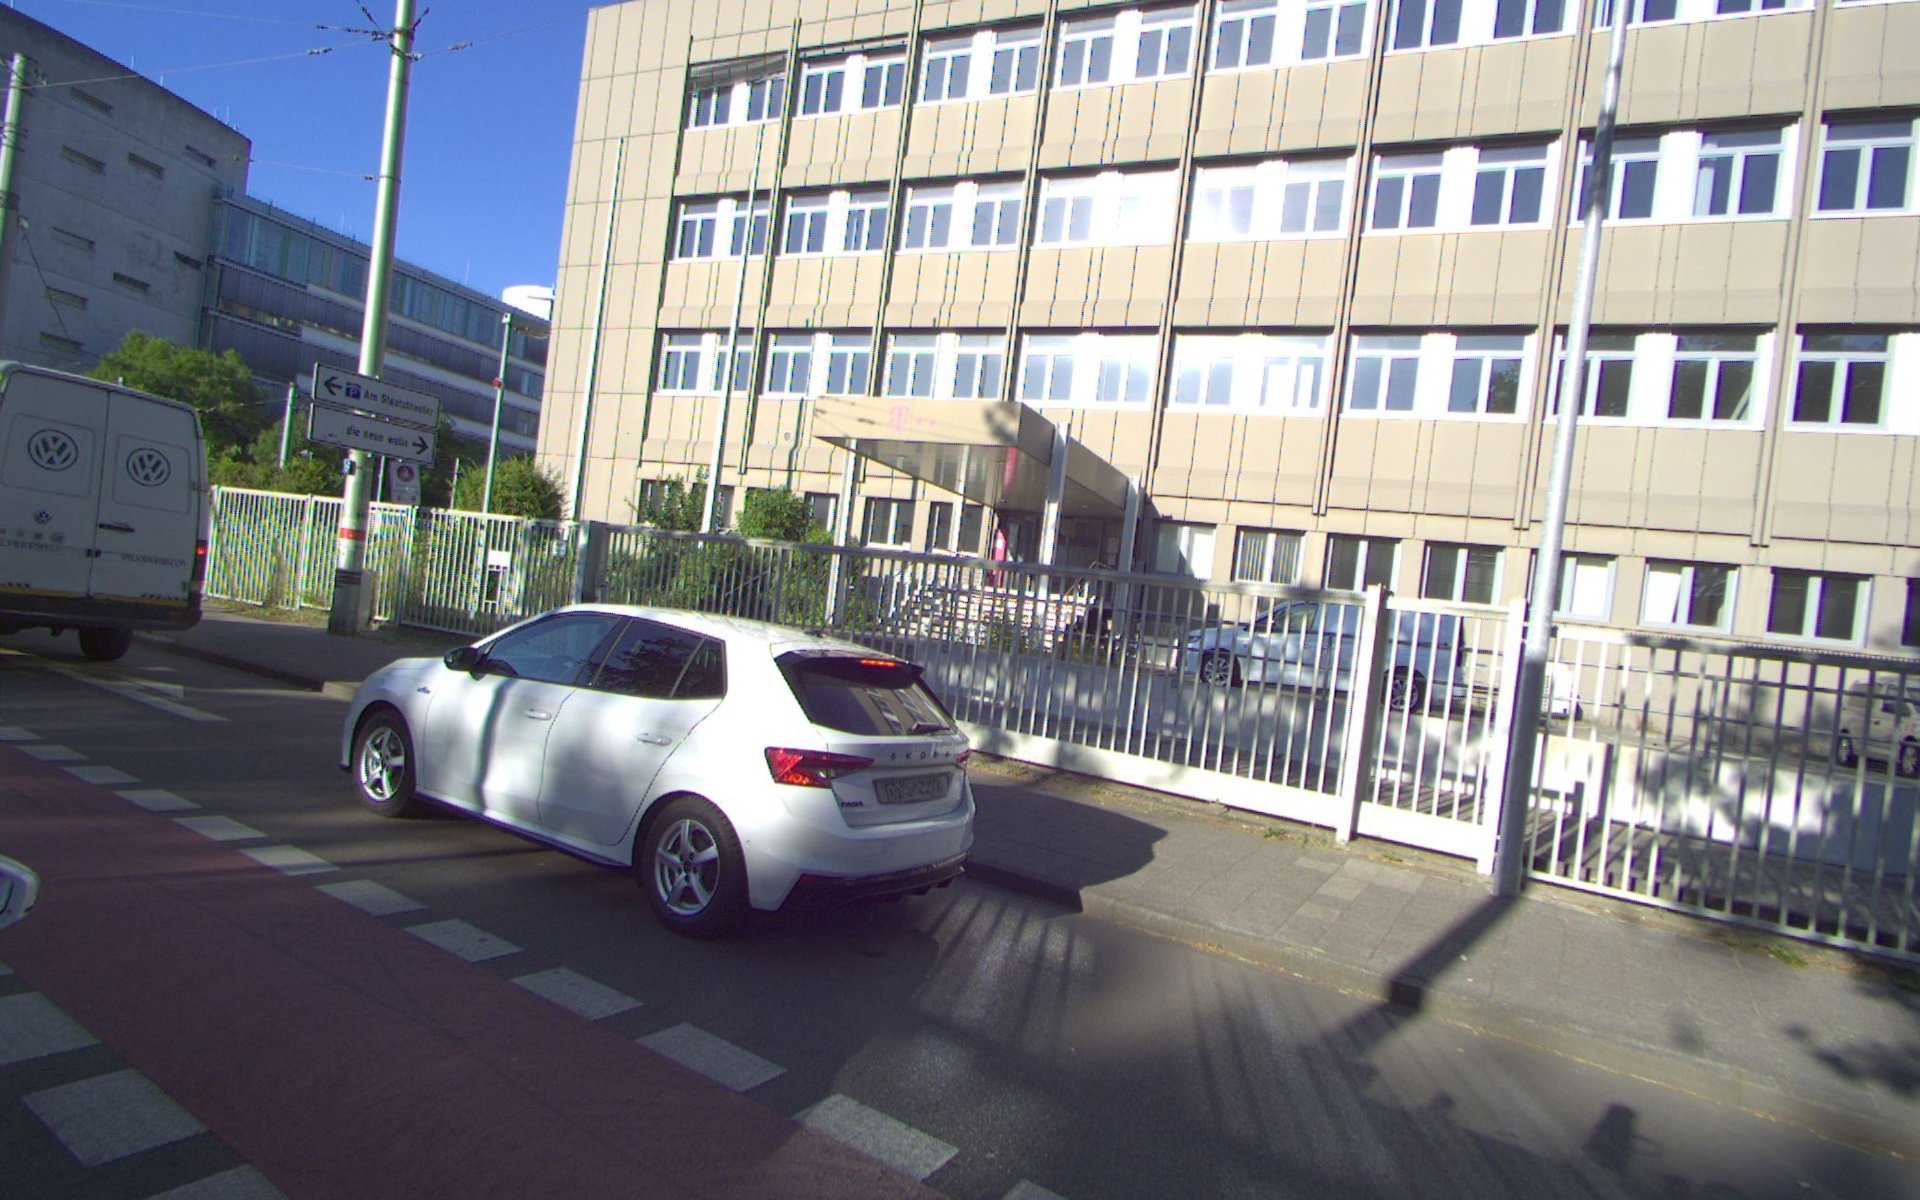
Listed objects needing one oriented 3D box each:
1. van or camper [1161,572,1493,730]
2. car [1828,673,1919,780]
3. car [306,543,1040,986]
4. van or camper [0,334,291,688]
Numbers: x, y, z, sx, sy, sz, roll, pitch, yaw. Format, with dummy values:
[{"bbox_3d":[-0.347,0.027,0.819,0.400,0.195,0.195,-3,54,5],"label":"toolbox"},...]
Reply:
[{"bbox_3d":[6.227,0.807,17.350,4.910,1.932,1.985,7,0,24],"label":"van or camper"},{"bbox_3d":[17.359,2.289,17.625,1.958,1.739,4.263,7,-1,24],"label":"car"},{"bbox_3d":[-1.761,0.688,5.851,3.915,1.518,1.805,7,-1,32],"label":"car"},{"bbox_3d":[-10.130,-0.970,10.368,6.234,2.764,2.277,7,-2,26],"label":"van or camper"}]
